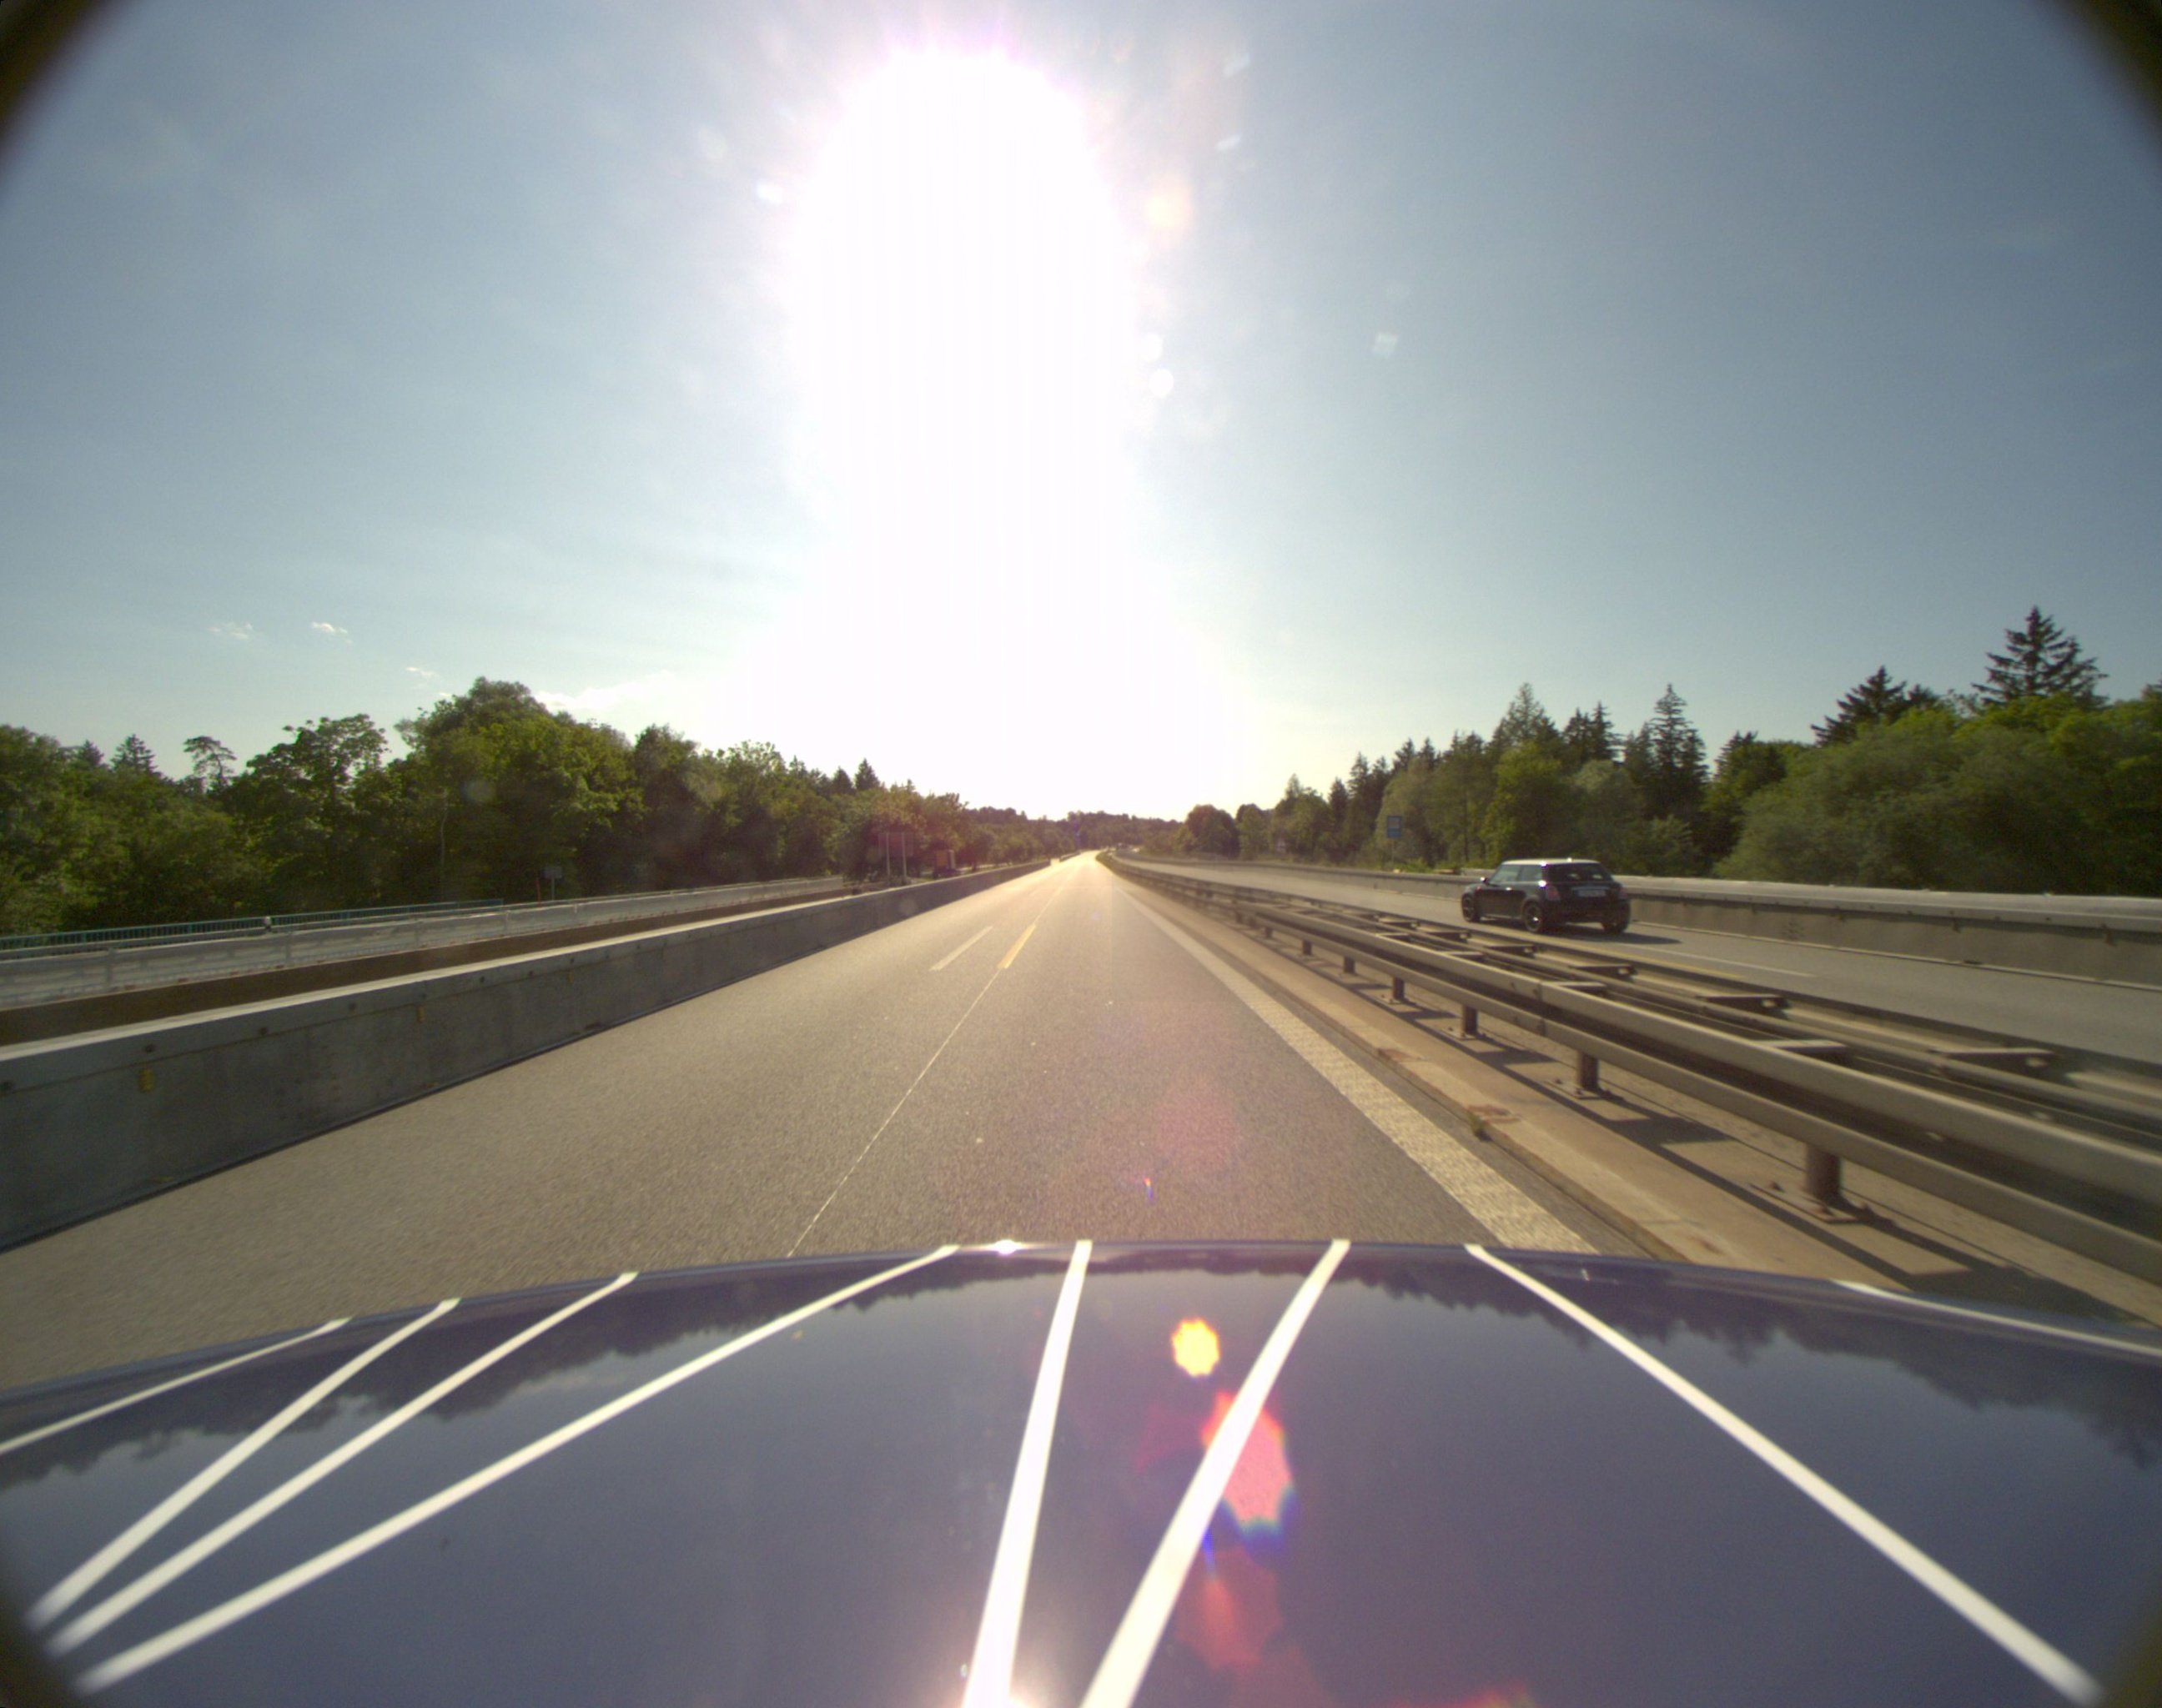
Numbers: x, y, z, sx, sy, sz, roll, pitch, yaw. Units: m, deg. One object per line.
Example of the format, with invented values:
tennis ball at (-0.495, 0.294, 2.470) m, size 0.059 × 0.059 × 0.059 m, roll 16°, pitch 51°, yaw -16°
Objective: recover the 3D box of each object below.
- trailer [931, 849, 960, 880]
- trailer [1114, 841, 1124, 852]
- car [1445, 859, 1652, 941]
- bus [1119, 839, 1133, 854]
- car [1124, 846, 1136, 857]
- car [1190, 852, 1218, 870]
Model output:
trailer at (-8.481, 0.630, 47.794) m, size 1.128 × 1.863 × 3.999 m, roll -1°, pitch 0°, yaw -1°
trailer at (13.418, -2.652, 269.555) m, size 2.748 × 4.047 × 13.995 m, roll 1°, pitch 1°, yaw 1°
car at (9.317, 0.833, 15.606) m, size 1.686 × 1.385 × 4.192 m, roll -1°, pitch 0°, yaw 0°
bus at (11.842, -2.005, 201.415) m, size 2.889 × 3.649 × 12.916 m, roll -1°, pitch 0°, yaw 0°
car at (8.514, -0.444, 133.275) m, size 1.878 × 1.962 × 5.577 m, roll -3°, pitch 0°, yaw 2°
car at (10.149, 0.551, 63.141) m, size 1.650 × 1.369 × 4.808 m, roll -1°, pitch 0°, yaw 2°
